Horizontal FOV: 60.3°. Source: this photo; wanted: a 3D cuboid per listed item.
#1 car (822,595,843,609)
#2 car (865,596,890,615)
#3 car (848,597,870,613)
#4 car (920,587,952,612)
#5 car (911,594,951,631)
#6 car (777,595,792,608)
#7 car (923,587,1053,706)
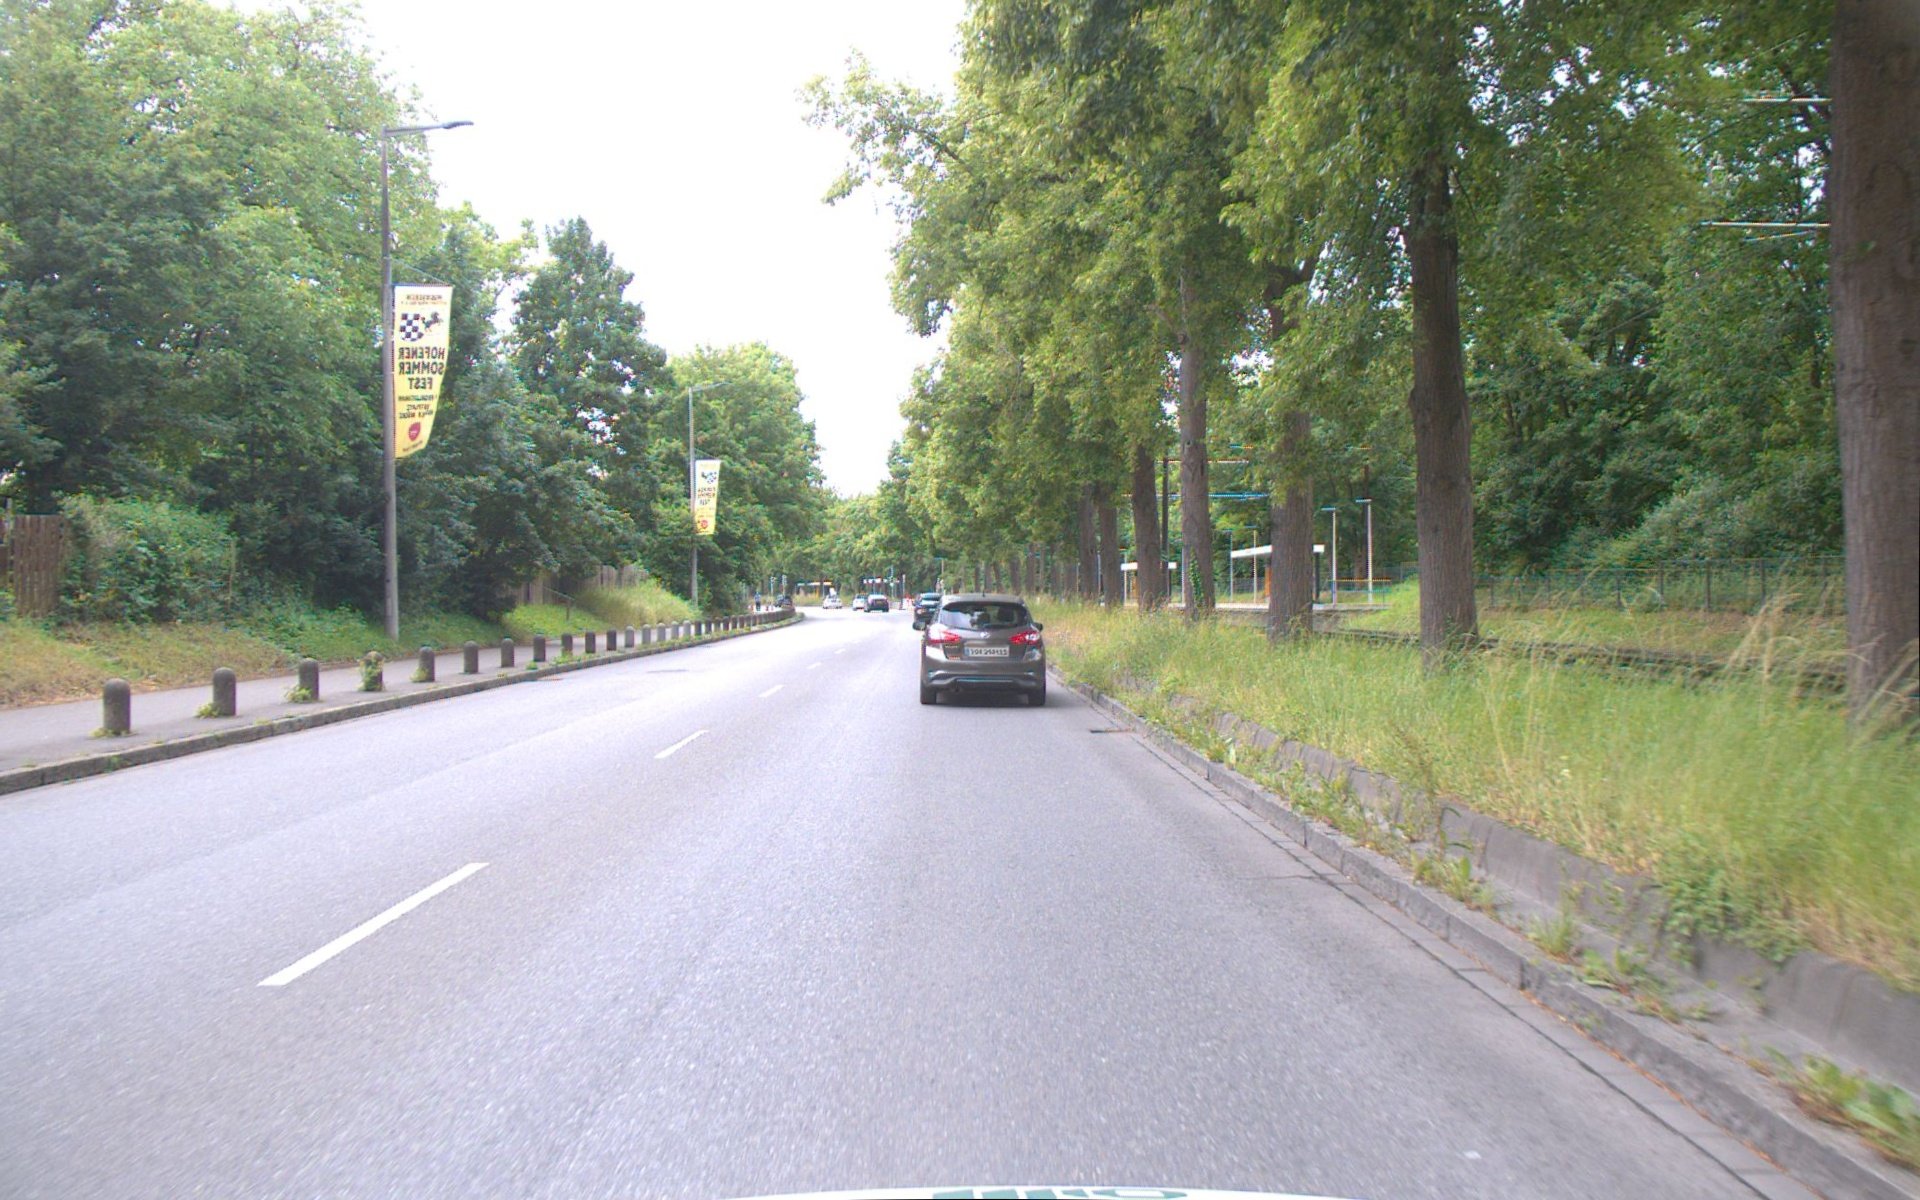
[{"bbox_3d":[-13.560,0.229,175.563,1.536,1.466,3.537,1,0,-15],"label":"car"},{"bbox_3d":[-6.952,0.460,138.371,1.534,1.466,3.541,1,0,-12],"label":"car"},{"bbox_3d":[-9.393,0.451,153.655,1.534,1.466,3.541,1,0,-12],"label":"car"},{"bbox_3d":[-1.449,-0.020,99.360,1.532,1.466,3.545,1,0,-8],"label":"car"},{"bbox_3d":[-1.302,0.531,72.509,1.695,1.564,3.550,1,0,-2],"label":"car"},{"bbox_3d":[-22.152,0.185,208.854,1.533,1.466,3.542,1,0,-11],"label":"car"},{"bbox_3d":[0.329,0.614,23.837,1.695,1.564,3.550,1,0,-2],"label":"car"}]
